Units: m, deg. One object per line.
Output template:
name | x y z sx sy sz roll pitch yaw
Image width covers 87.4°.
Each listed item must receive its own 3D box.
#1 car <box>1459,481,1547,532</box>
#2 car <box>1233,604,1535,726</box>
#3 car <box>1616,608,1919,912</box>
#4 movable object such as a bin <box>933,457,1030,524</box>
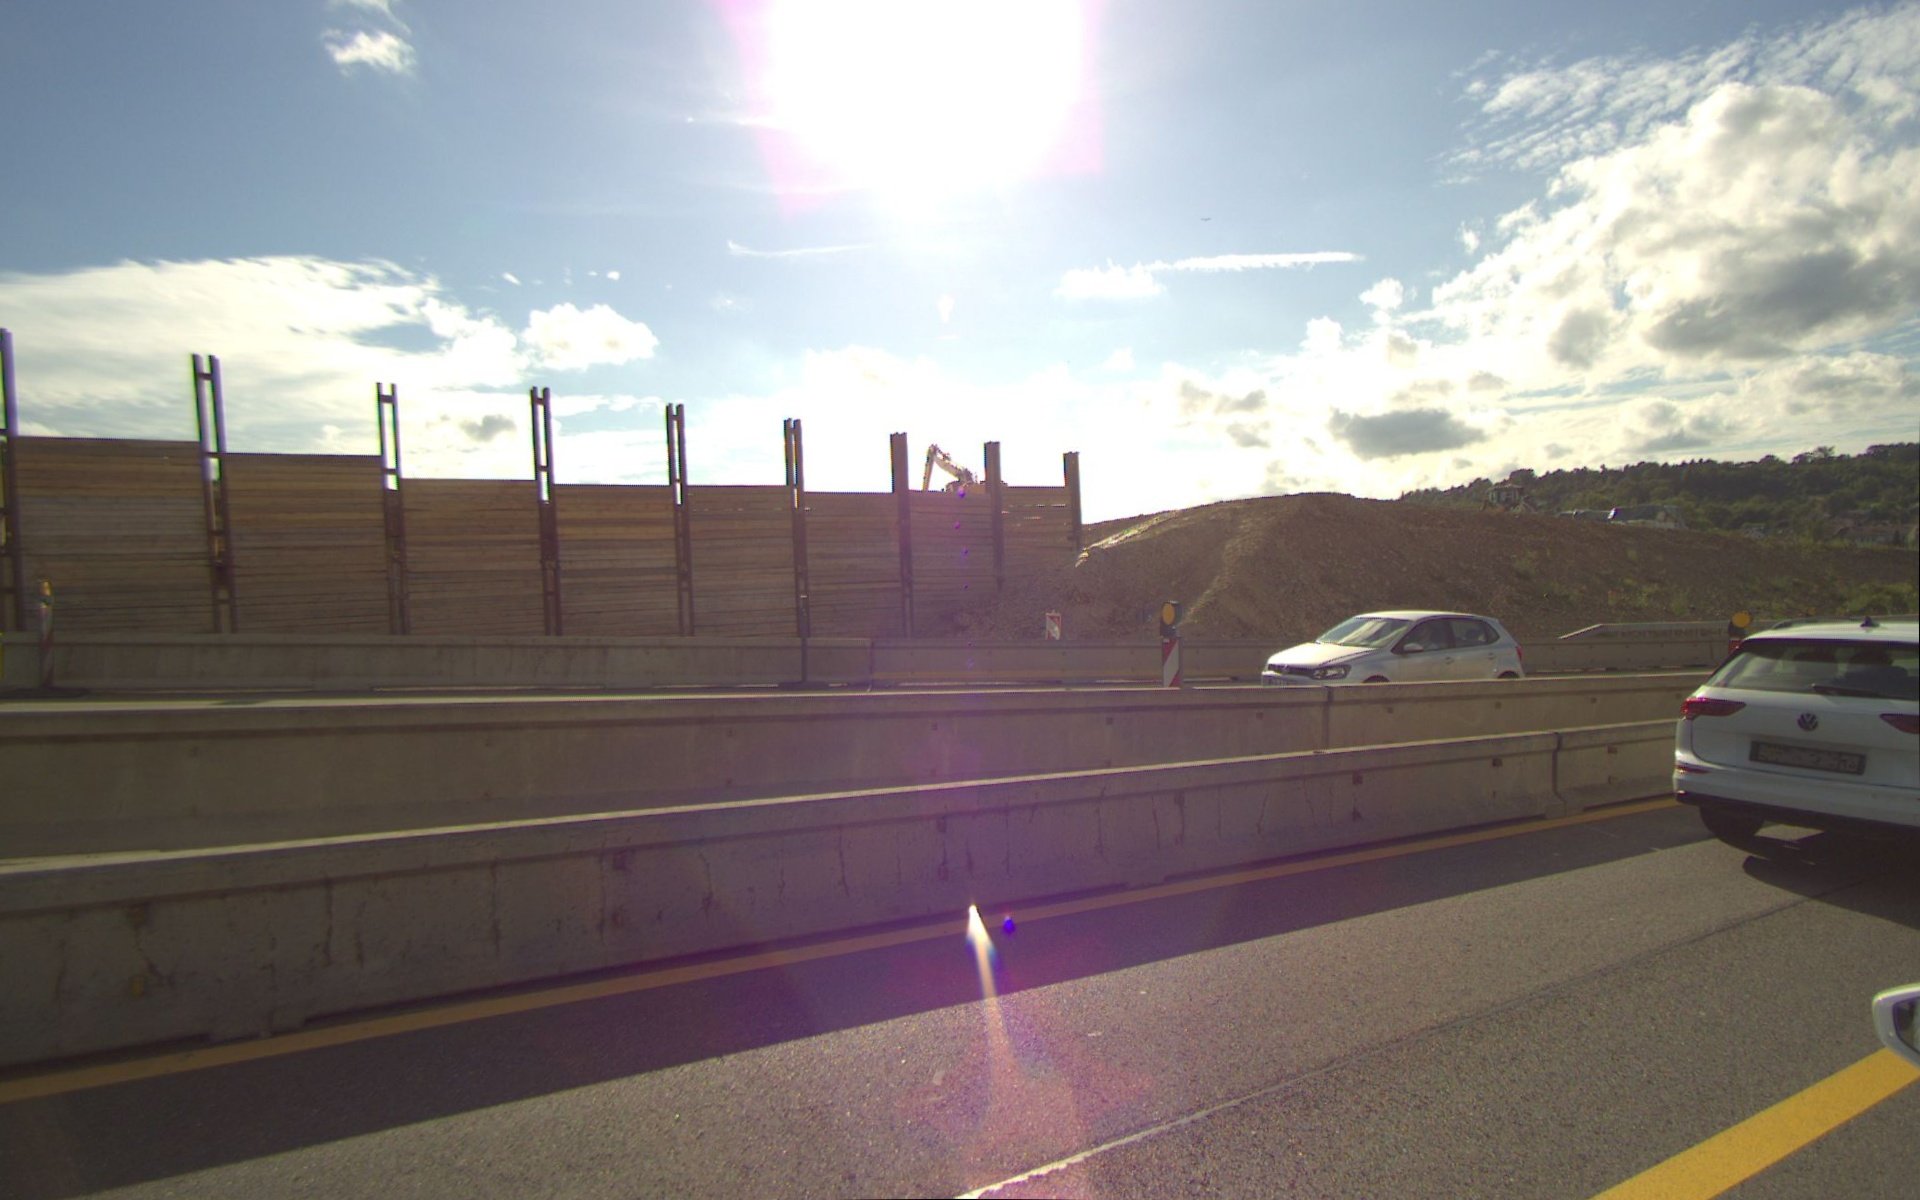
car | 31.021 -5.278 57.332 5.261 2.167 1.984 3 -5 -31
car | 5.838 0.830 13.840 3.752 1.459 1.749 1 0 -24
car | 6.491 0.843 6.663 4.463 1.511 1.762 1 0 -30
movable object such as a bin | 1.265 -6.850 63.915 4.440 3.314 5.742 3 0 -18
